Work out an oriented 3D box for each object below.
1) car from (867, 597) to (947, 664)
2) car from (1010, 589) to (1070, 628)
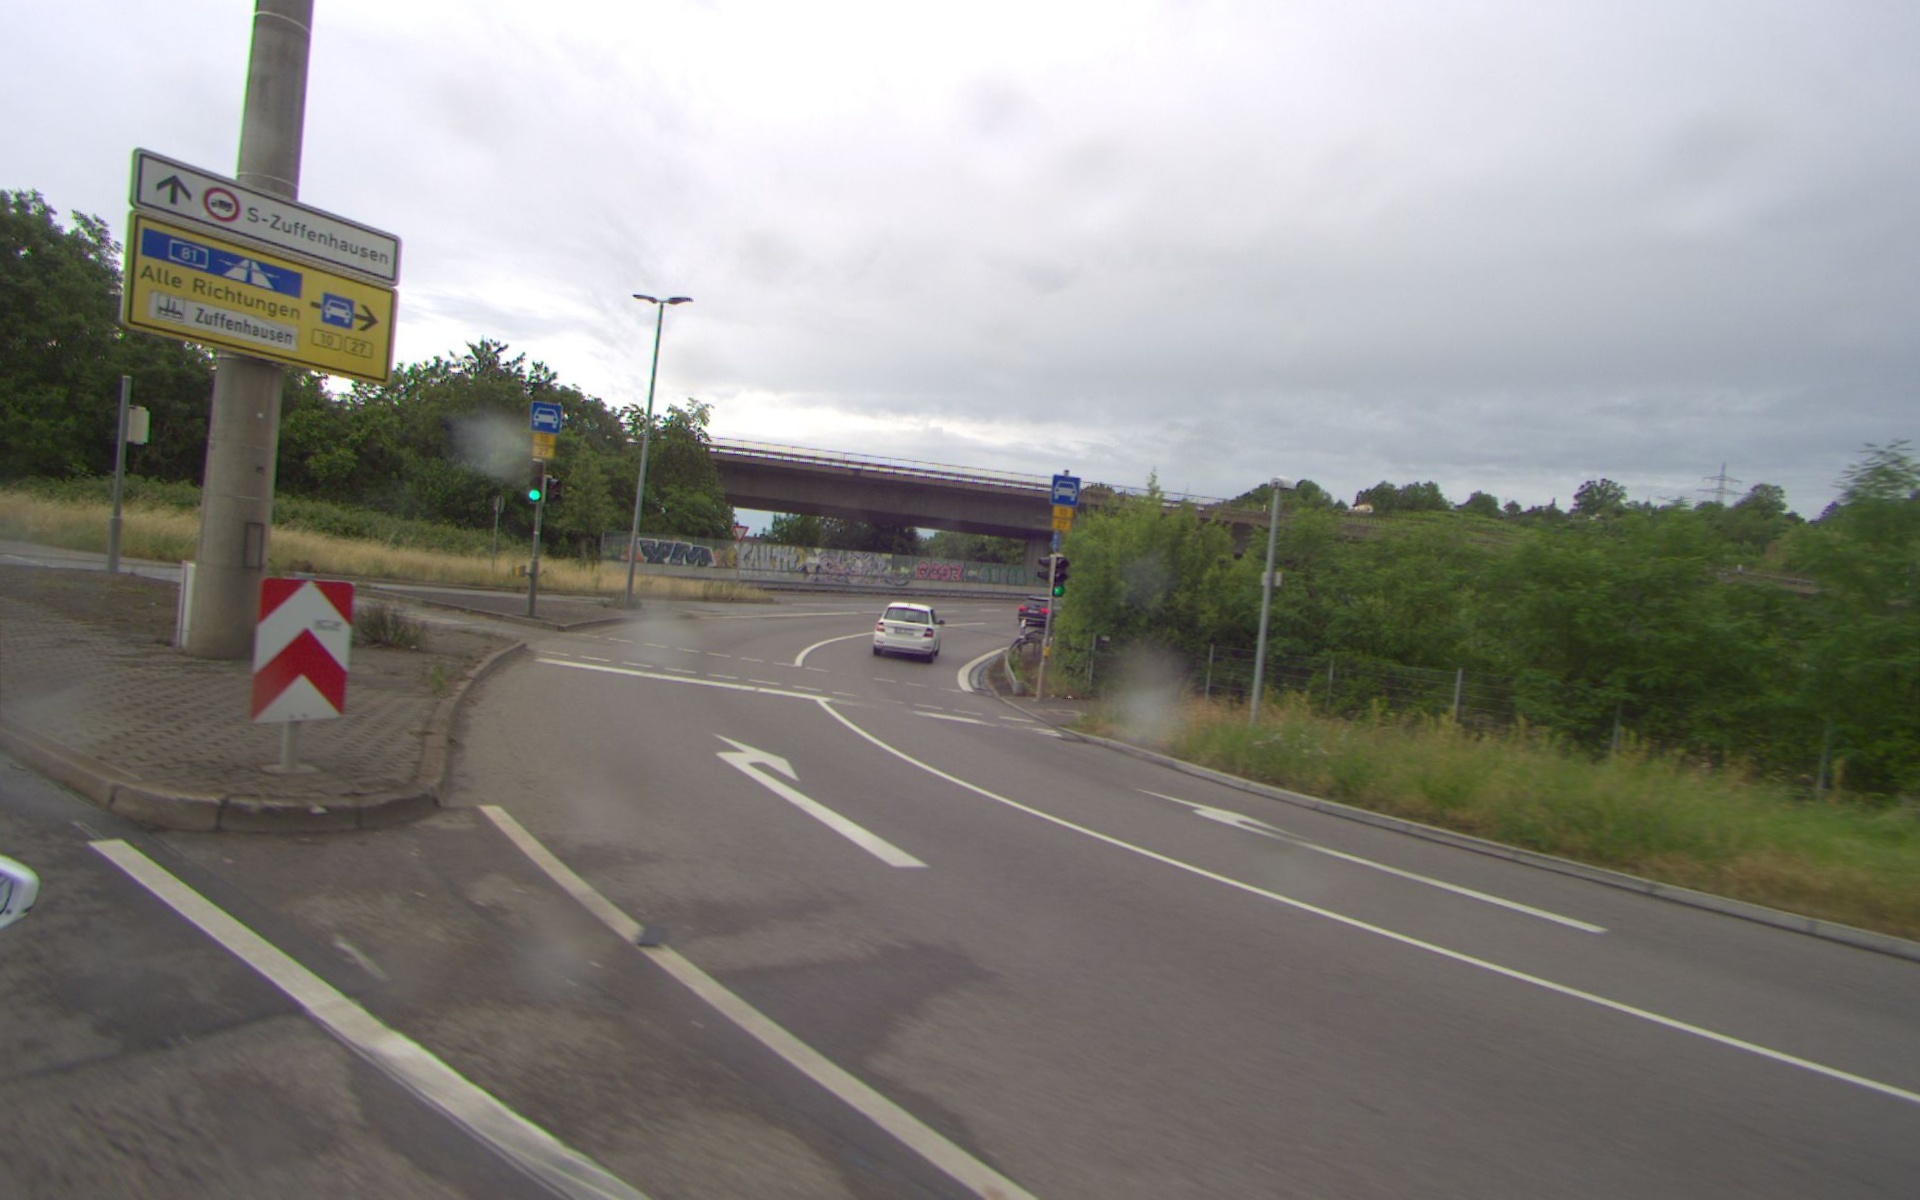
[{"bbox_3d":[-1.403,0.783,28.067,1.720,1.476,3.669,8,1,2],"label":"car"},{"bbox_3d":[3.876,0.417,48.189,1.875,1.555,3.998,8,1,17],"label":"car"}]
